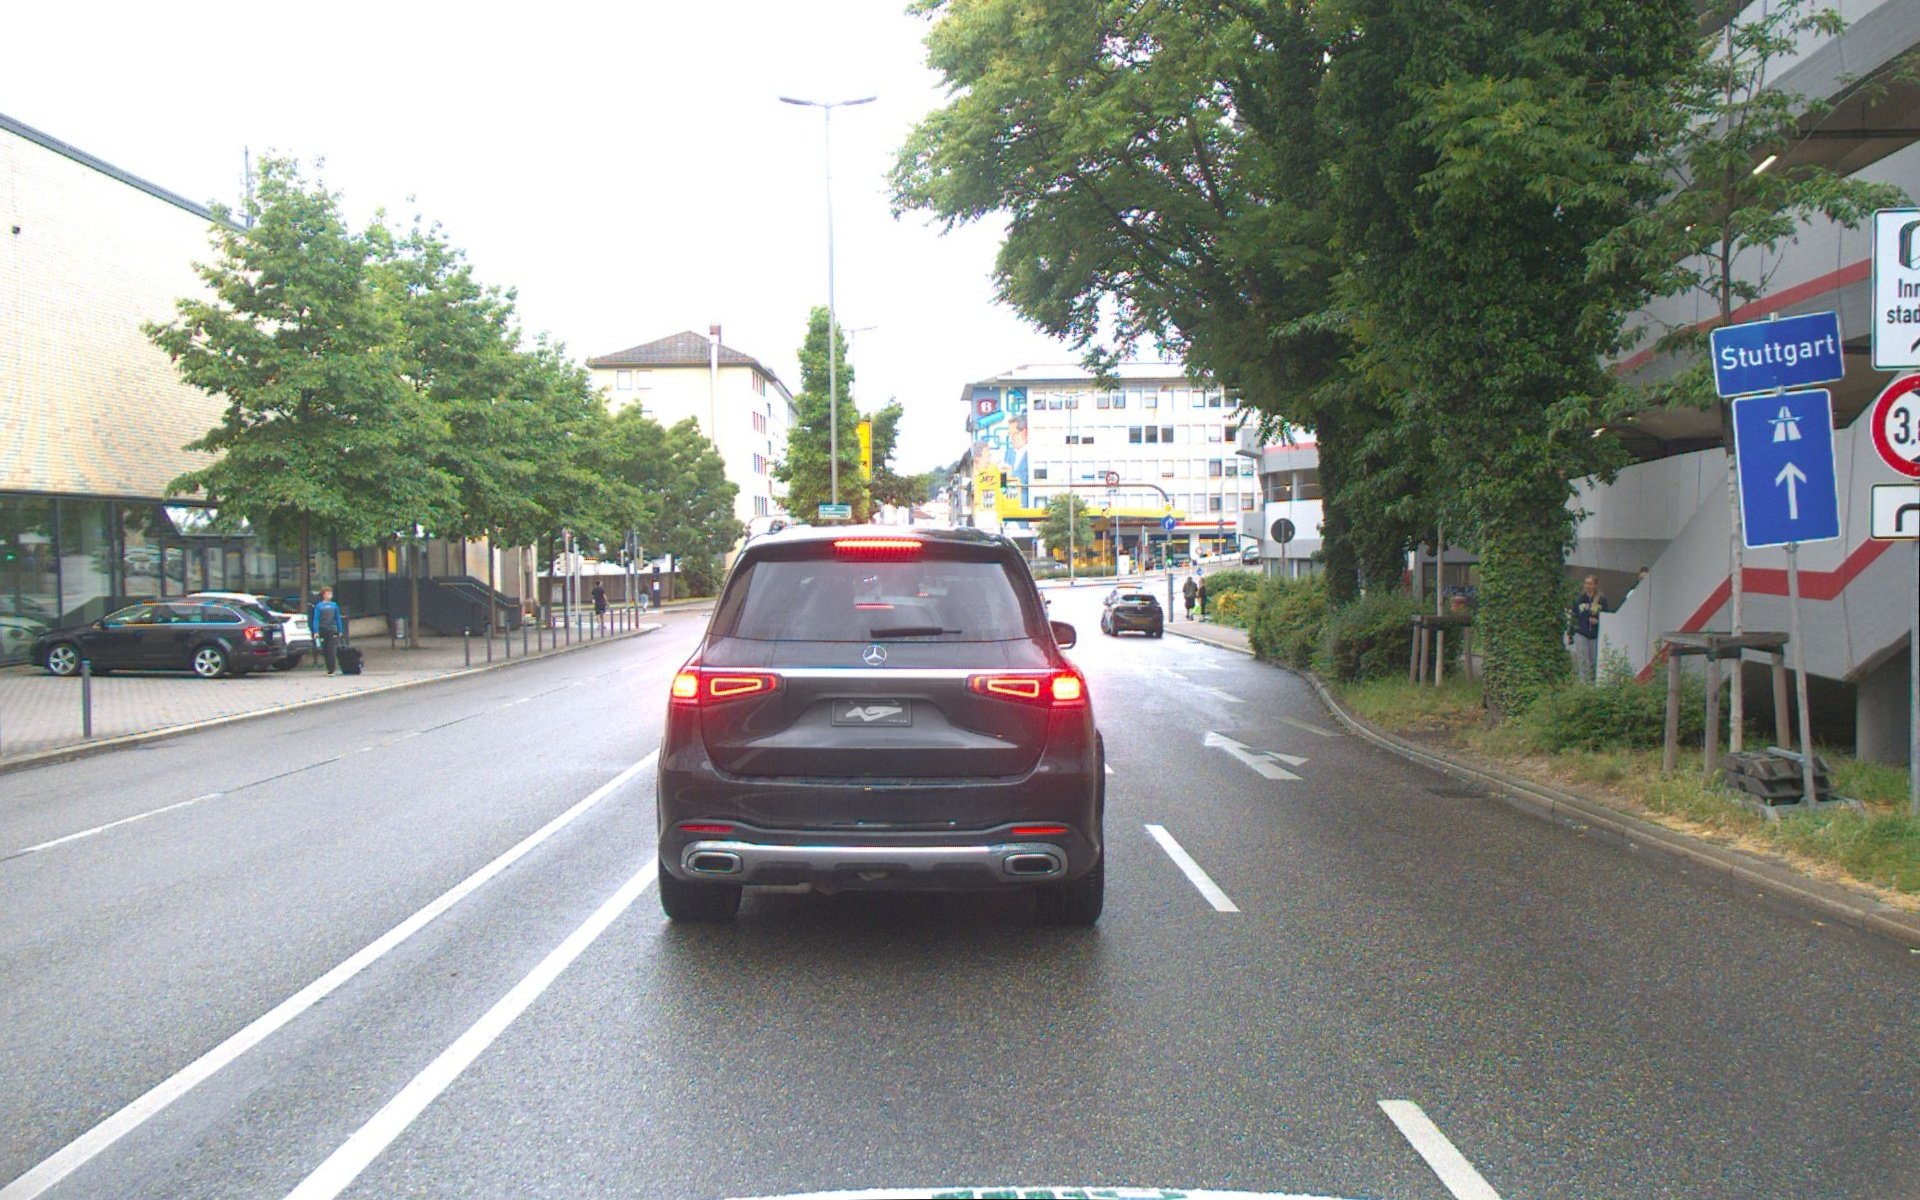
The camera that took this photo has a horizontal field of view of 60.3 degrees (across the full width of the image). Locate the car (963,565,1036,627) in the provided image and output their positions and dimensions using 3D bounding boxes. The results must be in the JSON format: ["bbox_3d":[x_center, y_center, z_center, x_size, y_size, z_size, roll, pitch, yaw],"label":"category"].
[{"bbox_3d":[1.346,-0.124,57.736,1.956,2.049,3.994,1,0,-7],"label":"car"}]

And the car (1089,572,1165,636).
[{"bbox_3d":[5.496,0.109,54.894,1.954,2.049,3.998,0,1,-3],"label":"car"}]

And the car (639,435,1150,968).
[{"bbox_3d":[-0.321,0.414,8.453,1.953,2.049,3.998,1,0,-2],"label":"car"}]

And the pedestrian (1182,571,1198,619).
[{"bbox_3d":[9.572,-0.192,68.810,0.607,1.969,0.610,1,-1,3],"label":"pedestrian"}]

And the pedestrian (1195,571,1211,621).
[{"bbox_3d":[9.637,-0.163,65.643,0.509,1.944,0.556,1,-1,-1],"label":"pedestrian"}]

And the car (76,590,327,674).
[{"bbox_3d":[-15.776,0.653,34.614,4.331,1.601,1.998,1,2,-6],"label":"car"}]

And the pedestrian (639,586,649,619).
[{"bbox_3d":[-16.104,0.134,84.239,0.391,1.673,0.567,1,-1,-1],"label":"pedestrian"}]

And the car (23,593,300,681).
[{"bbox_3d":[-15.296,0.691,31.912,4.383,1.615,1.997,0,0,-8],"label":"car"}]

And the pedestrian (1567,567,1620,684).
[{"bbox_3d":[8.583,0.347,22.429,0.539,1.559,0.488,1,-1,5],"label":"pedestrian"}]

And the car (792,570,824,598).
[{"bbox_3d":[-10.758,-1.101,117.213,1.954,1.908,5.139,1,0,-3],"label":"car"}]

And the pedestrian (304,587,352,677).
[{"bbox_3d":[-12.662,0.637,33.164,0.675,1.755,0.754,1,1,-2],"label":"pedestrian"}]

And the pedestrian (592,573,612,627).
[{"bbox_3d":[-13.477,-0.002,62.260,0.576,2.049,0.749,0,0,-3],"label":"pedestrian"}]

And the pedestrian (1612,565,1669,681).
[{"bbox_3d":[9.192,0.309,22.349,0.569,1.528,0.504,1,-1,4],"label":"pedestrian"}]
